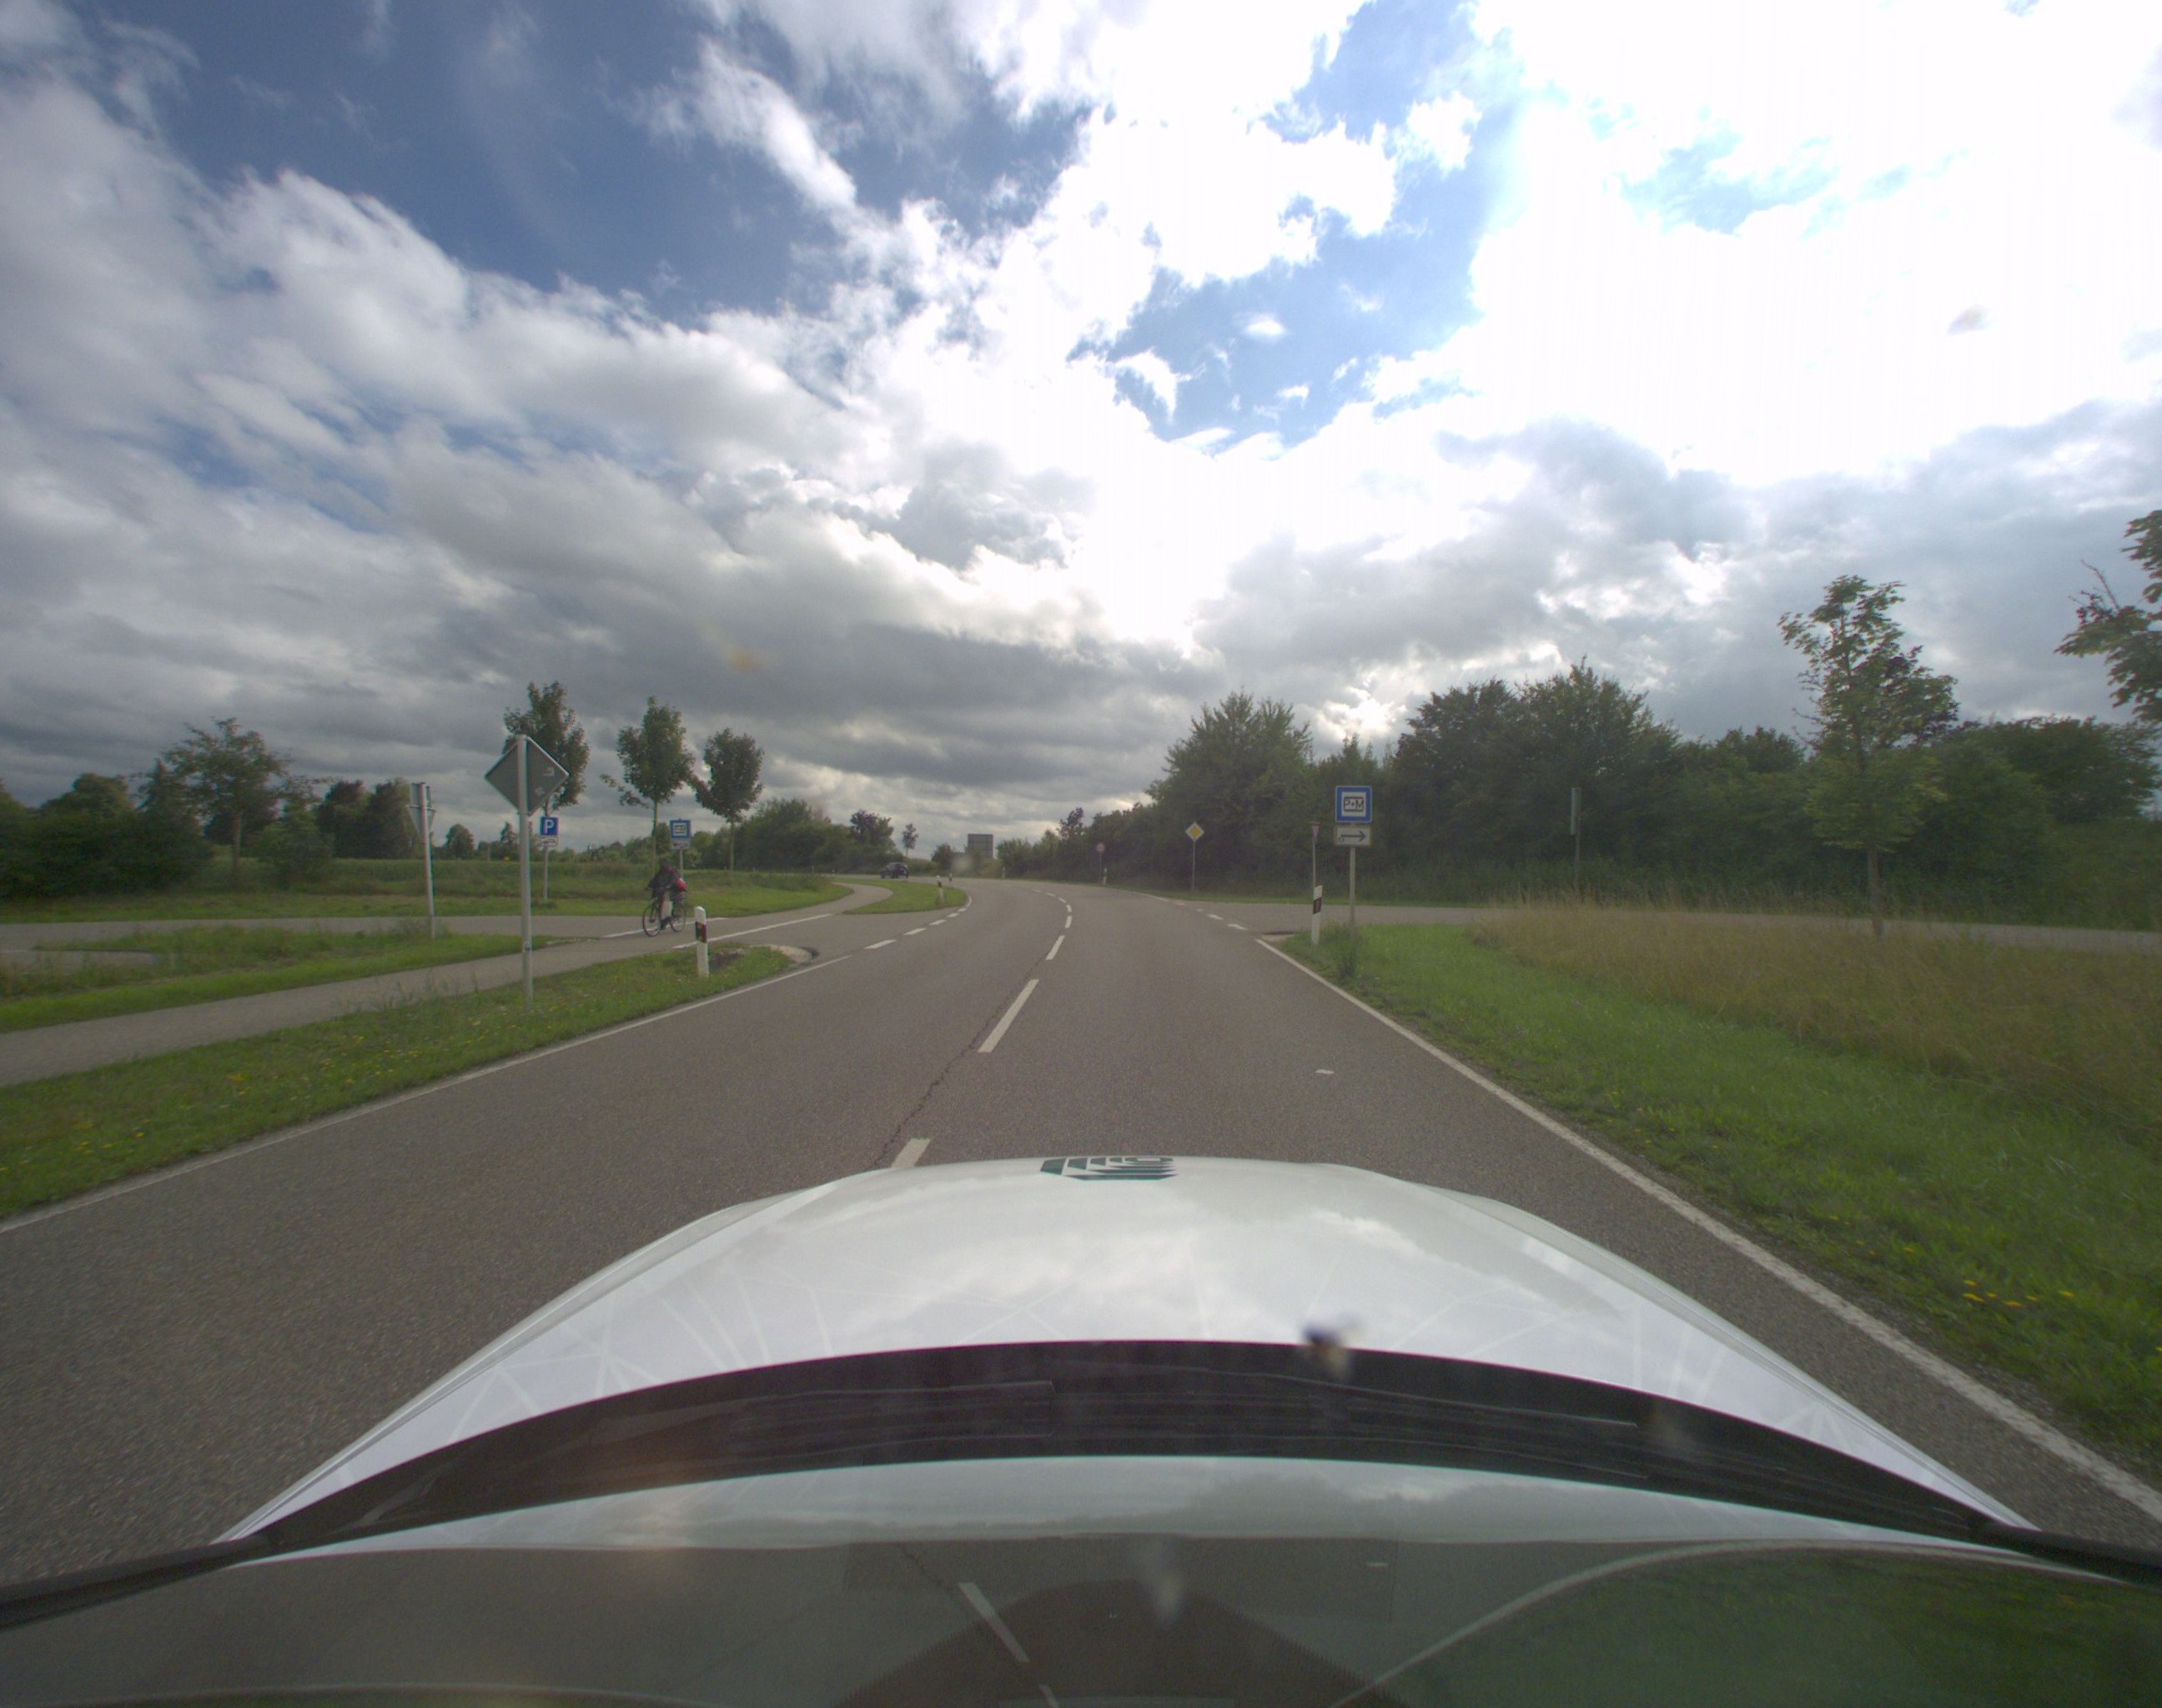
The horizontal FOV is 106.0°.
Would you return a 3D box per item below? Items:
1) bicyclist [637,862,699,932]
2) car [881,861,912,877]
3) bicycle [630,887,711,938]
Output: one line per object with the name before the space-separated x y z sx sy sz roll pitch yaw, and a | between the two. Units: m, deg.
bicyclist | -9.550 0.970 18.873 0.827 1.566 1.057 0 -1 5
car | -20.138 1.630 88.787 1.921 1.666 3.956 1 -1 -36
bicycle | -9.483 1.327 18.917 0.633 1.032 2.192 0 -1 3
